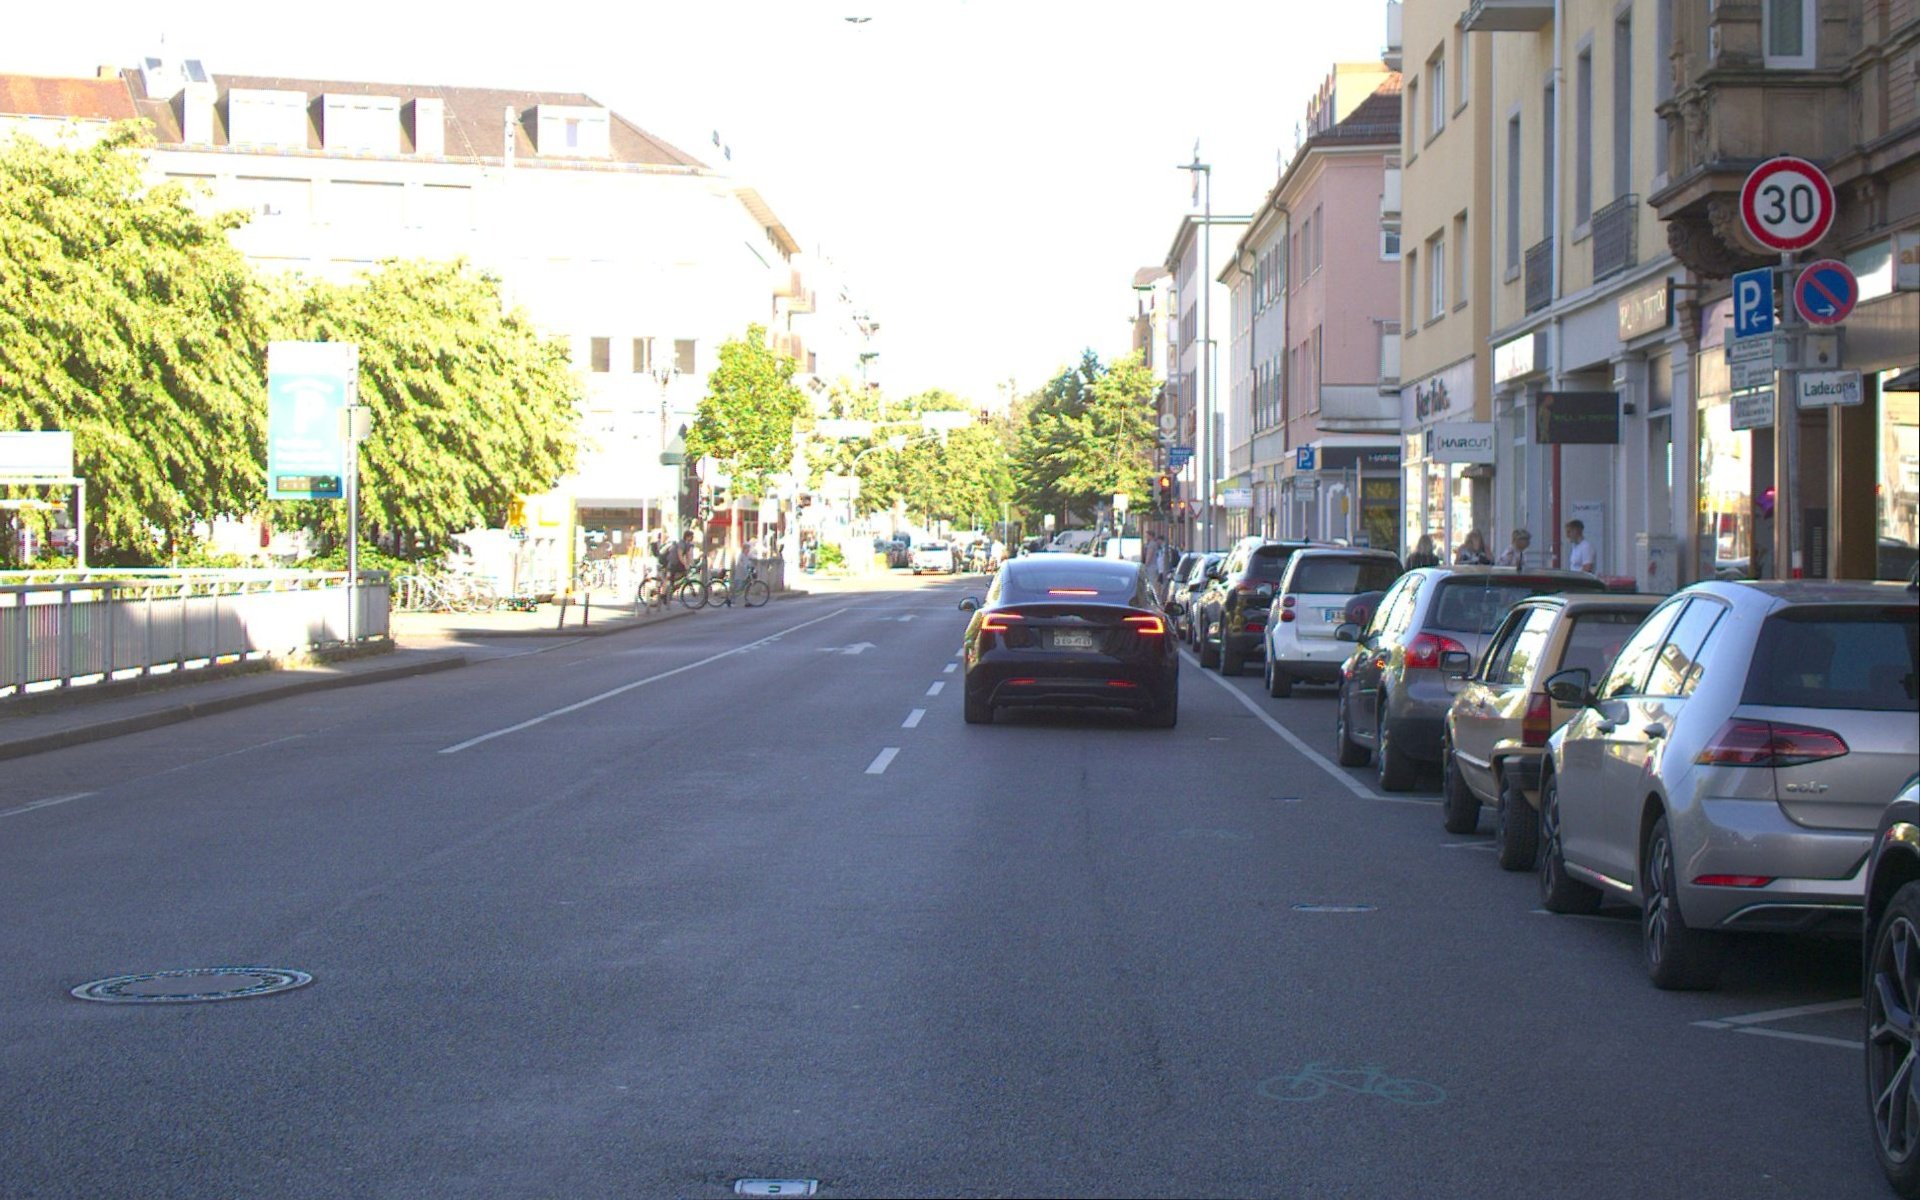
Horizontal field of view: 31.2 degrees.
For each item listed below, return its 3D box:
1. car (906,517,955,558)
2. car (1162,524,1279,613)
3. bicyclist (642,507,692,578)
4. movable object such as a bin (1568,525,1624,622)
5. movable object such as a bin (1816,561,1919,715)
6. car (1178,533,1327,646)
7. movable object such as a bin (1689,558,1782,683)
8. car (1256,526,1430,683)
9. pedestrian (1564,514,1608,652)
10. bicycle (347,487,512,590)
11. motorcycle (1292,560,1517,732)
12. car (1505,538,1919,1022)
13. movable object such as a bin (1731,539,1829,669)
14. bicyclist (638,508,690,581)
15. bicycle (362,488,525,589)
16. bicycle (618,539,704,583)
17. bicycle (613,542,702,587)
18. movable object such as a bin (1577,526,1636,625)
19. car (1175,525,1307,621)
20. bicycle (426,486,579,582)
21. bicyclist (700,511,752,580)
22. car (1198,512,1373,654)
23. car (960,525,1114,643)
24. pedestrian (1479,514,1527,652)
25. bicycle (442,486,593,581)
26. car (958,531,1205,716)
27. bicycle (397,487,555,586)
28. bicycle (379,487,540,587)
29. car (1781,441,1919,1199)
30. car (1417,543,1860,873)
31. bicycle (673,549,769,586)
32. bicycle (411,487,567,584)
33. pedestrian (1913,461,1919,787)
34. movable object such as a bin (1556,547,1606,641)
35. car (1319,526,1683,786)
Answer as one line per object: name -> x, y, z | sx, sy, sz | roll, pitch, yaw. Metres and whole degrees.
car -> -1.351, -2.874, 157.688 | 1.994, 1.765, 4.000 | 1, 2, 3
car -> 4.477, -0.543, 59.565 | 1.792, 1.455, 3.868 | 1, 0, 2
bicyclist -> -7.033, -1.378, 82.534 | 1.146, 1.680, 0.819 | 0, 1, -2
movable object such as a bin -> 7.011, -0.299, 37.926 | 0.478, 1.048, 0.632 | -2, 1, 1
movable object such as a bin -> 6.711, 0.273, 25.261 | 0.679, 1.092, 0.626 | -2, 1, 1
car -> 4.004, -0.158, 47.593 | 1.792, 1.455, 4.084 | 1, 0, 2
movable object such as a bin -> 6.859, 0.175, 30.446 | 0.644, 1.072, 0.819 | -2, 1, 3
car -> 4.026, 0.017, 36.501 | 1.613, 1.541, 2.855 | 1, 2, 3
pedestrian -> 7.508, -0.209, 41.256 | 0.470, 1.630, 0.513 | 1, 1, 6
bicycle -> -10.561, -1.233, 68.481 | 3.123, 2.007, 0.908 | 1, 1, 11
motorcycle -> 3.599, 0.348, 27.722 | 2.039, 1.323, 0.656 | -1, 2, -44
car -> 3.293, 0.553, 13.098 | 1.839, 1.482, 4.184 | 1, 2, 2
movable object such as a bin -> 6.815, 0.025, 28.575 | 0.644, 1.048, 0.632 | -2, 1, 1
bicyclist -> -6.871, -1.292, 79.889 | 1.146, 1.680, 0.919 | 0, 1, -2
bicycle -> -10.420, -1.253, 69.433 | 3.123, 2.007, 0.908 | 1, 1, 11
bicycle -> -7.181, -0.938, 82.534 | 2.011, 1.018, 0.762 | 0, 1, -2
bicycle -> -7.023, -0.822, 79.888 | 2.011, 1.018, 0.888 | 0, 1, -2
movable object such as a bin -> 7.002, -0.271, 37.245 | 0.495, 1.048, 0.632 | -2, 1, 1
car -> 4.482, -0.435, 55.293 | 1.792, 1.455, 3.868 | 1, 0, 0
bicycle -> -9.785, -1.414, 73.569 | 3.123, 2.007, 0.908 | 1, 1, 11
bicyclist -> -5.744, -1.348, 84.515 | 1.146, 1.680, 0.914 | 0, 1, 5
car -> 3.959, -0.212, 42.331 | 1.716, 1.630, 4.084 | 1, 0, 0
car -> 1.087, -0.256, 46.478 | 1.935, 1.482, 4.271 | 1, 1, 3
pedestrian -> 6.474, -0.204, 40.990 | 0.471, 1.630, 0.513 | 1, 1, 18
bicycle -> -9.599, -1.449, 74.605 | 3.123, 2.007, 0.908 | 1, 1, 11
car -> 1.011, 0.178, 30.442 | 1.995, 1.475, 4.495 | 1, 0, 0
bicycle -> -10.057, -1.332, 71.458 | 3.123, 2.007, 0.908 | 1, 1, 11
bicycle -> -10.253, -1.295, 70.419 | 3.123, 2.007, 0.908 | 1, 1, 11
car -> 3.045, 0.570, 6.355 | 1.973, 1.719, 4.824 | 1, 2, 2
car -> 3.406, 0.470, 17.905 | 1.608, 1.444, 3.830 | 1, 2, 2
bicycle -> -5.874, -0.809, 84.537 | 2.244, 0.880, 0.923 | 0, 1, 5
bicycle -> -9.927, -1.375, 72.536 | 3.123, 2.007, 0.908 | 1, 1, 11
pedestrian -> 5.491, 0.133, 18.472 | 0.620, 1.760, 0.518 | 0, 1, 4
movable object such as a bin -> 7.029, -0.072, 38.895 | 0.455, 1.048, 0.500 | -2, 1, 1
car -> 3.599, 0.304, 23.582 | 1.839, 1.541, 4.228 | 1, 2, 1
